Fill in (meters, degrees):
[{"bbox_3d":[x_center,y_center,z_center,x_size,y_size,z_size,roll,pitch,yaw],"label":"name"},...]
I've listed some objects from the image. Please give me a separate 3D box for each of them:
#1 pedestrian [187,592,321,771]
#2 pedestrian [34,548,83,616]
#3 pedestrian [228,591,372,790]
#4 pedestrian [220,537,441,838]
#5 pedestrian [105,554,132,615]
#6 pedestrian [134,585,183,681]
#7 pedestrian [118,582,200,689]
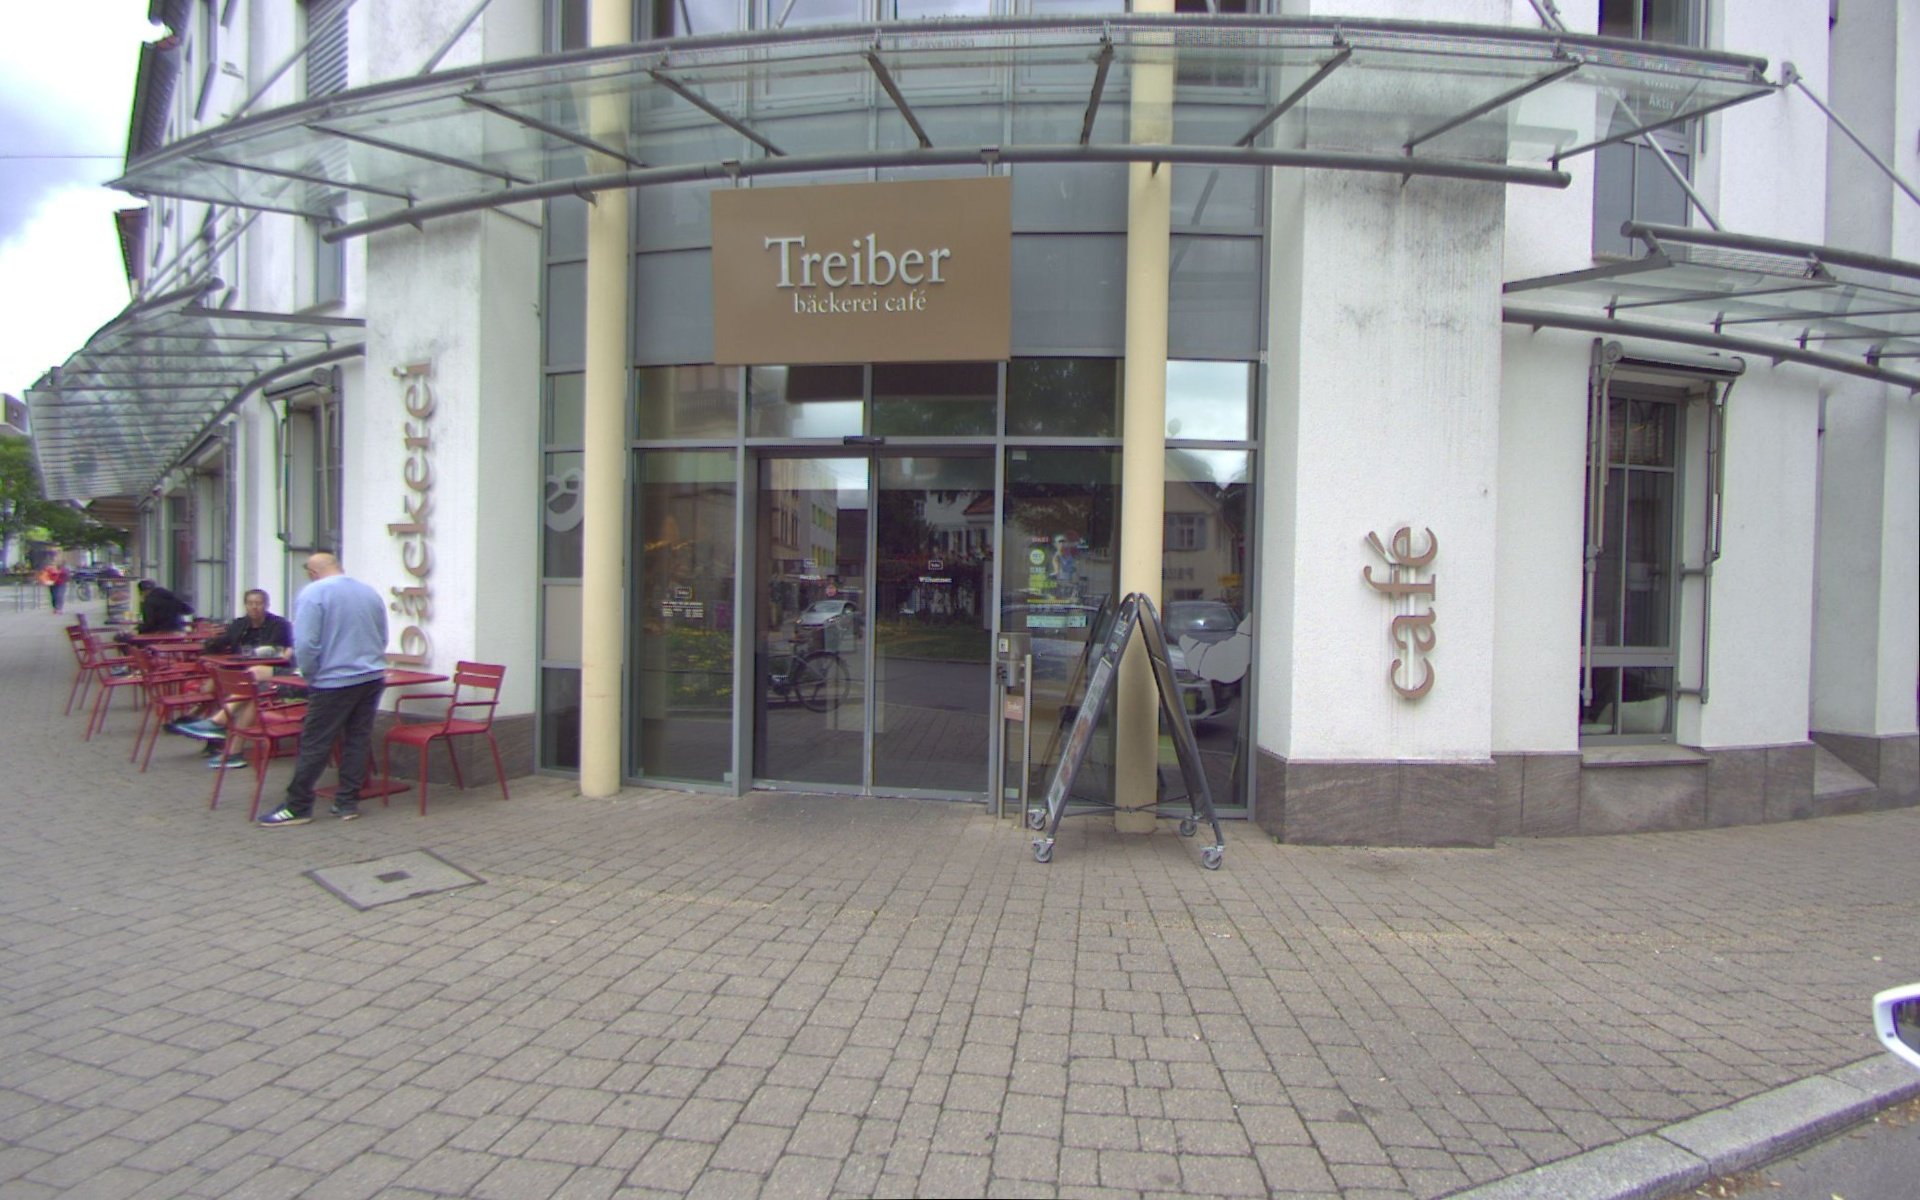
[{"bbox_3d":[-5.670,0.611,8.072,0.691,1.350,0.682,1,1,35],"label":"pedestrian"},{"bbox_3d":[-27.982,-0.553,31.202,1.020,2.041,0.887,0,1,-36],"label":"pedestrian"},{"bbox_3d":[-4.826,0.617,7.357,0.646,1.359,0.694,1,1,35],"label":"pedestrian"},{"bbox_3d":[-3.556,0.441,5.706,0.691,1.546,0.864,1,1,35],"label":"pedestrian"},{"bbox_3d":[-28.505,-0.530,34.033,0.664,2.041,0.628,0,1,-38],"label":"pedestrian"},{"bbox_3d":[-11.020,0.440,13.810,0.498,1.288,0.486,-1,2,-42],"label":"pedestrian"},{"bbox_3d":[-10.389,0.450,13.032,0.759,1.335,0.561,2,0,-42],"label":"pedestrian"}]
